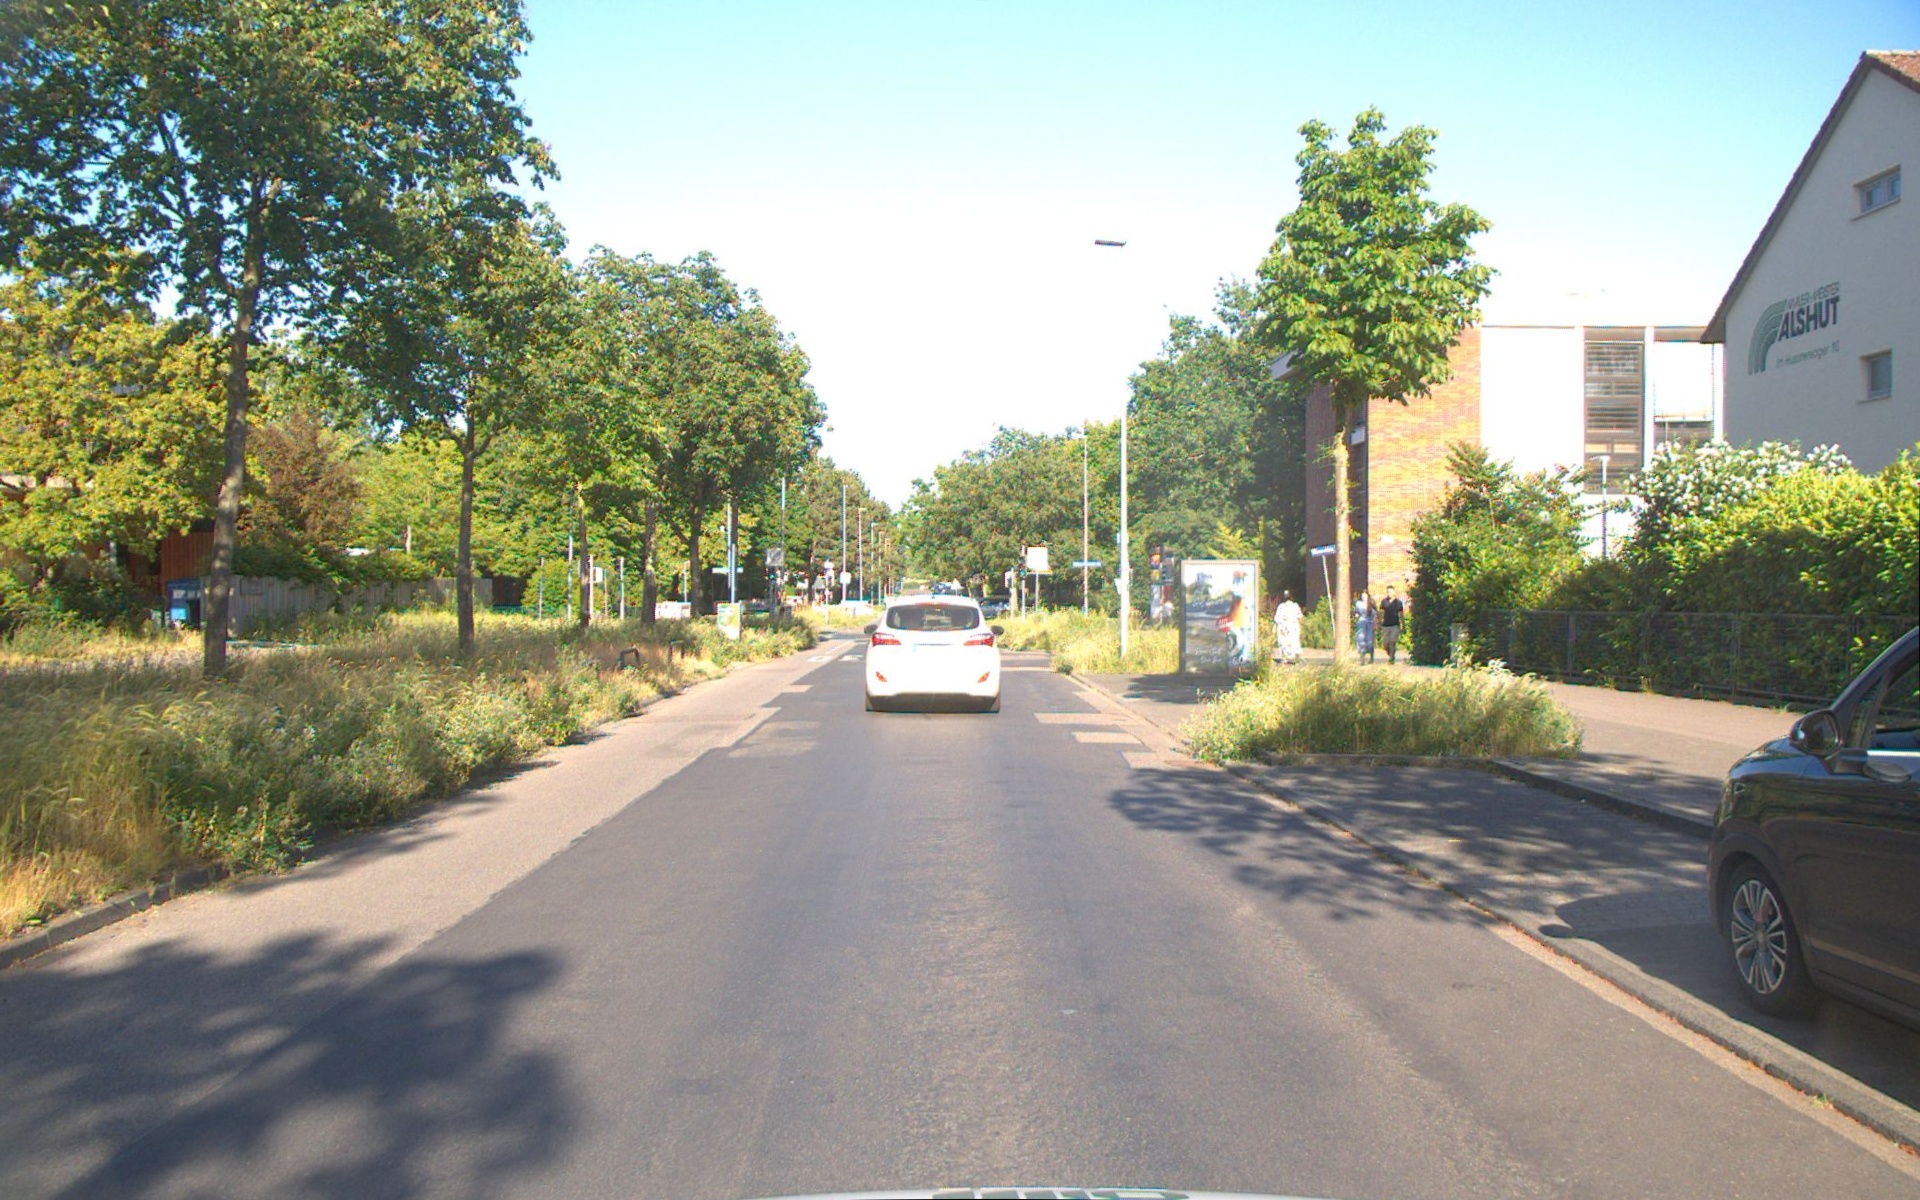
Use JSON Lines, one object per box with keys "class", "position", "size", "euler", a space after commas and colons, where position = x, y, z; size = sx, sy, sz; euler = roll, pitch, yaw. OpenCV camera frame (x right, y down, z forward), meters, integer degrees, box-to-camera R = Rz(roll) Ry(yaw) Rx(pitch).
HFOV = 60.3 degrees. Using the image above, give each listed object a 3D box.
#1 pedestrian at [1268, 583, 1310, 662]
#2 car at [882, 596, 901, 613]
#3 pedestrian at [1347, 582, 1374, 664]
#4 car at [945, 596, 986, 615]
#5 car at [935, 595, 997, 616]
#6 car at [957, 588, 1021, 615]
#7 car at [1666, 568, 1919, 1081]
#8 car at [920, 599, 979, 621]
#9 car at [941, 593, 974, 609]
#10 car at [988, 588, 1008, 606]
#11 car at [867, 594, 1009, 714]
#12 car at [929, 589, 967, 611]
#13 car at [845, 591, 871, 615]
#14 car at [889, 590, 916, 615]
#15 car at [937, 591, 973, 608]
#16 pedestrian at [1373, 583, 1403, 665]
{"class": "pedestrian", "position": [7.866, 0.530, 39.569], "size": [0.880, 1.853, 0.736], "euler": [1, -1, 18]}
{"class": "car", "position": [-7.704, 0.477, 185.846], "size": [1.953, 1.847, 3.999], "euler": [1, 0, -1]}
{"class": "pedestrian", "position": [8.786, 0.504, 36.250], "size": [0.542, 1.763, 0.662], "euler": [1, -1, 15]}
{"class": "car", "position": [0.499, 0.484, 155.500], "size": [3.742, 1.713, 1.863], "euler": [1, -1, -2]}
{"class": "car", "position": [0.554, 0.492, 149.117], "size": [5.500, 1.713, 1.947], "euler": [1, -1, -2]}
{"class": "car", "position": [1.999, 0.084, 113.544], "size": [4.406, 1.814, 1.855], "euler": [0, 0, 1]}
{"class": "car", "position": [3.743, 0.689, 5.089], "size": [1.463, 1.601, 3.599], "euler": [-3, 0, -1]}
{"class": "car", "position": [-0.794, 0.785, 125.326], "size": [4.406, 1.658, 1.855], "euler": [0, 0, 1]}
{"class": "car", "position": [-0.299, 0.091, 189.694], "size": [3.742, 1.798, 1.863], "euler": [1, -1, -2]}
{"class": "car", "position": [4.104, -0.311, 180.523], "size": [1.953, 1.847, 3.999], "euler": [1, 0, -1]}
{"class": "car", "position": [-0.313, 0.668, 22.520], "size": [1.753, 1.489, 3.962], "euler": [0, 0, -1]}
{"class": "car", "position": [-1.164, 0.008, 165.497], "size": [3.742, 2.135, 1.863], "euler": [1, -1, -2]}
{"class": "car", "position": [-8.466, 0.228, 137.288], "size": [1.953, 1.847, 4.000], "euler": [1, 1, -1]}
{"class": "car", "position": [-4.501, 0.182, 129.859], "size": [1.953, 1.847, 3.999], "euler": [3, 0, -1]}
{"class": "car", "position": [-0.596, -0.061, 192.836], "size": [4.215, 1.941, 1.863], "euler": [1, -1, -2]}
{"class": "pedestrian", "position": [9.344, 0.526, 36.106], "size": [0.593, 1.763, 0.640], "euler": [1, -1, 15]}
